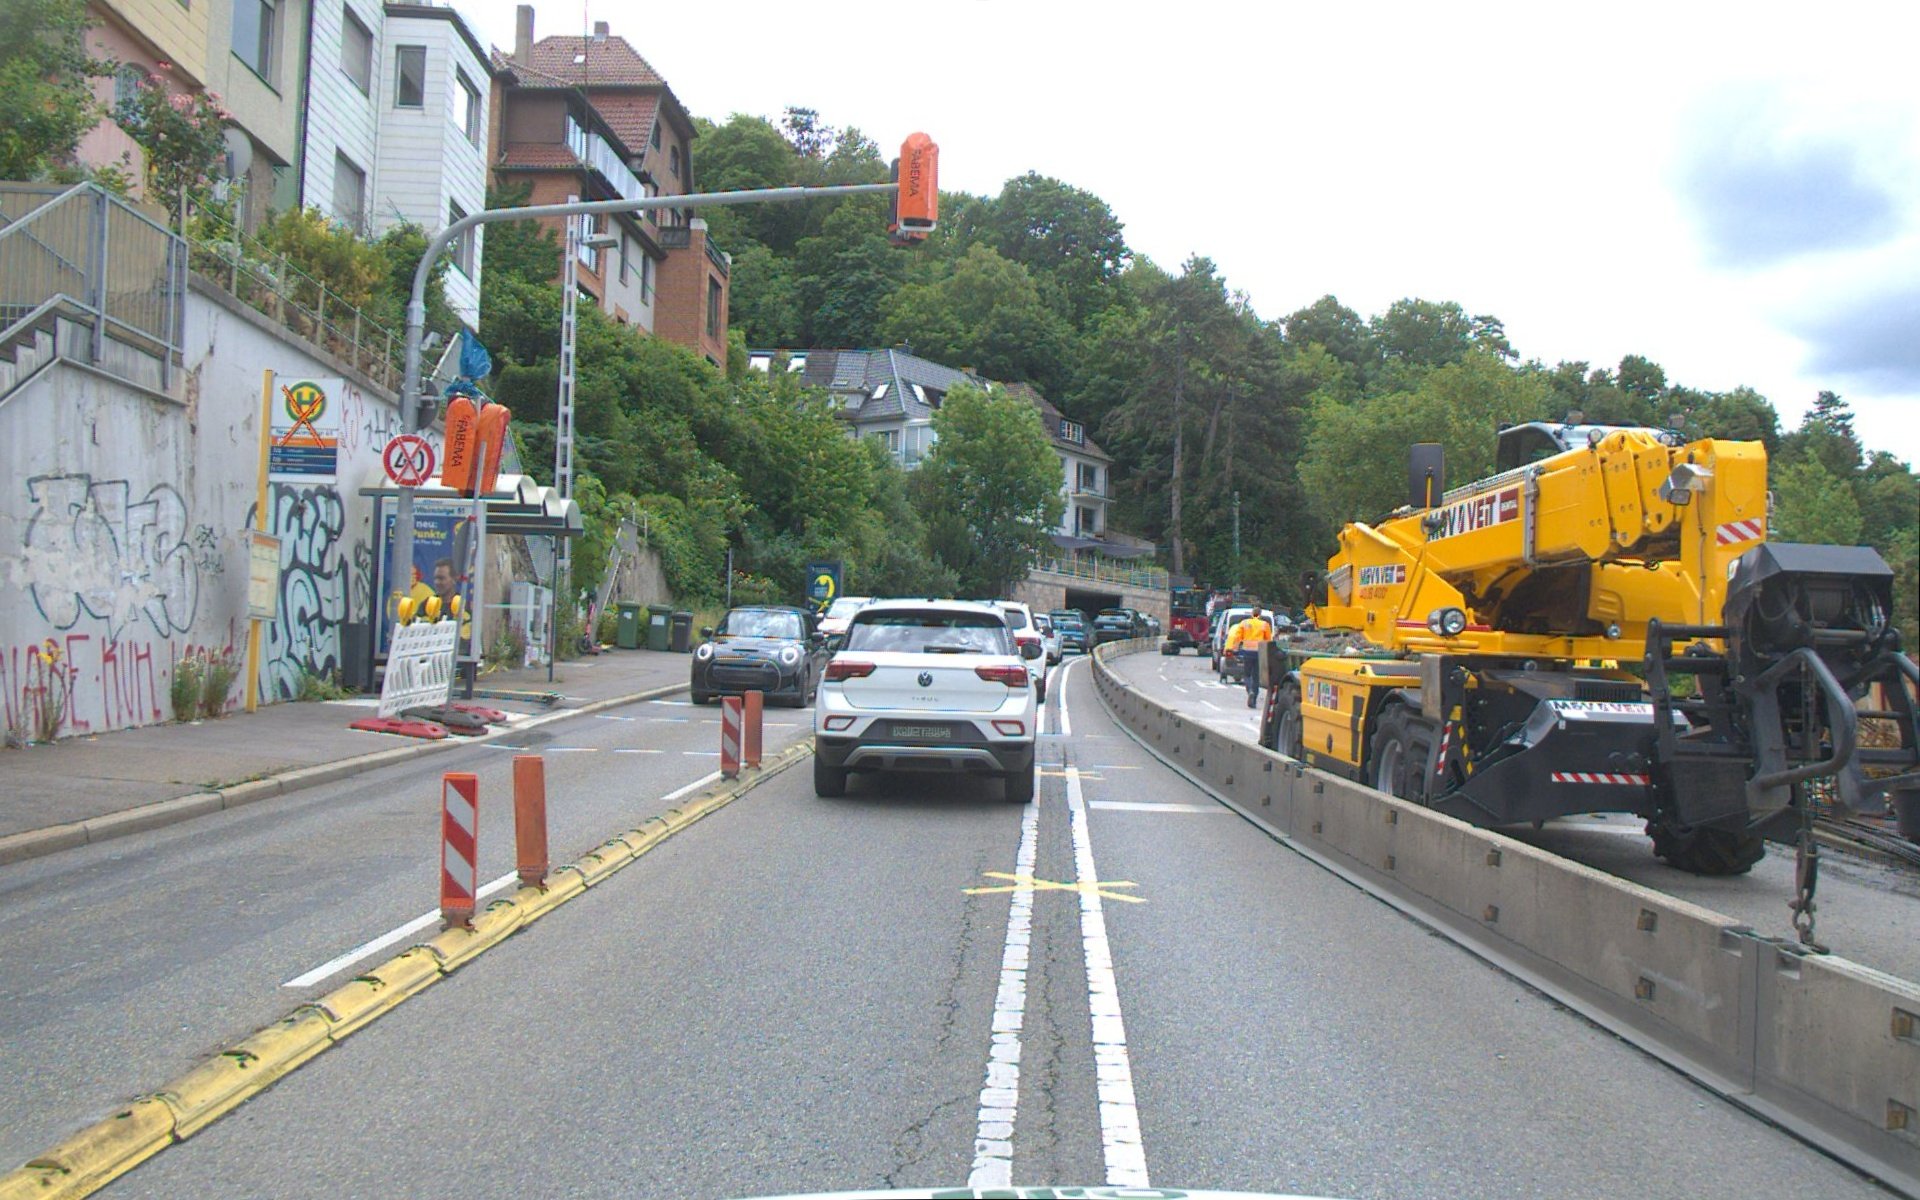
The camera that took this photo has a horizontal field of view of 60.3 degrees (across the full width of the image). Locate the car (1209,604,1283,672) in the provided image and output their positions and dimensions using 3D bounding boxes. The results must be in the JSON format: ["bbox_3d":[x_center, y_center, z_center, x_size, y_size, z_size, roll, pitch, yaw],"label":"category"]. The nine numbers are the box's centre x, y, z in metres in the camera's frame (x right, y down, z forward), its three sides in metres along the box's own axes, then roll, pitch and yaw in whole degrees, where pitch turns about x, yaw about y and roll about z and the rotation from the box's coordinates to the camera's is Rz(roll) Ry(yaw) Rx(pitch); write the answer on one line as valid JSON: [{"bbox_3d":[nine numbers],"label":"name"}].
[{"bbox_3d":[8.230,1.063,47.893,1.794,1.811,4.271,2,0,6],"label":"car"}]

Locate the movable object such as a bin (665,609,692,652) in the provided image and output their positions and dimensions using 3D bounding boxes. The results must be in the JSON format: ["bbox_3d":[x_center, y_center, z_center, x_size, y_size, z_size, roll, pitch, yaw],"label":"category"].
[{"bbox_3d":[-6.541,0.707,38.500,0.458,0.950,0.624,3,0,2],"label":"movable object such as a bin"}]

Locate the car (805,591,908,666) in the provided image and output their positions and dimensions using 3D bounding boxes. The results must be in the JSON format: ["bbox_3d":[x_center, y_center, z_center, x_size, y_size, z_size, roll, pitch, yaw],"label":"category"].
[{"bbox_3d":[-2.384,0.655,39.156,1.803,1.627,4.266,2,0,5],"label":"car"}]

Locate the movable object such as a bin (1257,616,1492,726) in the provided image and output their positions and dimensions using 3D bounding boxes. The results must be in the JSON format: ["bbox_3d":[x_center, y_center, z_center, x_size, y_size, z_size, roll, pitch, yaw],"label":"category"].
[{"bbox_3d":[6.988,1.123,28.895,2.325,1.589,7.099,2,0,0],"label":"movable object such as a bin"}]

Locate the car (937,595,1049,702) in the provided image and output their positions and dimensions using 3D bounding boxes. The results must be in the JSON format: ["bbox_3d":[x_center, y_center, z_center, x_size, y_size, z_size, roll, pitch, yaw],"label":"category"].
[{"bbox_3d":[0.629,0.793,28.337,1.772,1.692,4.001,0,0,3],"label":"car"}]

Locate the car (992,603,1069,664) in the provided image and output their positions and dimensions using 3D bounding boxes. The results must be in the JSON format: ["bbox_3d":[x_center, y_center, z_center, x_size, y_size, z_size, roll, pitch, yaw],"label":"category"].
[{"bbox_3d":[2.115,0.957,48.449,1.771,1.692,4.003,0,0,10],"label":"car"}]

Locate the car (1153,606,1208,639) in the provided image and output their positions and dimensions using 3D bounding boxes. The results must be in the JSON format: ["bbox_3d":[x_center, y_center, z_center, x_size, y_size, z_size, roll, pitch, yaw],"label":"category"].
[{"bbox_3d":[11.857,1.203,88.765,1.774,1.692,3.996,0,-1,26],"label":"car"}]

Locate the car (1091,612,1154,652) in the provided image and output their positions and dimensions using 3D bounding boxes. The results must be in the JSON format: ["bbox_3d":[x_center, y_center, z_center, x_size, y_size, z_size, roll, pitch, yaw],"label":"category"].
[{"bbox_3d":[7.096,1.362,72.030,1.772,1.692,4.000,0,-1,20],"label":"car"}]

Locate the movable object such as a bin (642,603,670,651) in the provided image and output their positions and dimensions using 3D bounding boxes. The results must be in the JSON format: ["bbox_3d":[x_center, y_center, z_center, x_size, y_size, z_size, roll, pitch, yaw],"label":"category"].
[{"bbox_3d":[-7.081,0.621,38.524,0.458,1.072,0.624,3,0,2],"label":"movable object such as a bin"}]

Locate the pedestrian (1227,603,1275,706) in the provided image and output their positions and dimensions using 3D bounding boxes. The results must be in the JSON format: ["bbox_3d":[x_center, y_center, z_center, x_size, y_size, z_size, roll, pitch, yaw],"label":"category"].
[{"bbox_3d":[5.047,0.934,28.740,0.632,1.731,0.850,3,0,2],"label":"pedestrian"}]

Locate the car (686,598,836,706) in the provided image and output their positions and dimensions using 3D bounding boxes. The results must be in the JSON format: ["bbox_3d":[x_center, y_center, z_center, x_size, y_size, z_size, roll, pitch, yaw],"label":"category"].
[{"bbox_3d":[-2.938,0.751,25.060,1.637,1.455,3.588,2,-1,3],"label":"car"}]

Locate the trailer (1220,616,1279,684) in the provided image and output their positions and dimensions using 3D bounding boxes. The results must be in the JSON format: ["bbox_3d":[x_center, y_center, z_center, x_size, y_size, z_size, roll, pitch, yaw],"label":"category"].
[{"bbox_3d":[6.970,1.173,40.052,1.261,1.501,3.636,2,0,8],"label":"trailer"}]

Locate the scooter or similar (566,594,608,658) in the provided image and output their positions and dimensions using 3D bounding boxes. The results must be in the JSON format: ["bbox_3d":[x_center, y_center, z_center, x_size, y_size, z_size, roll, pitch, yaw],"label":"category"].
[{"bbox_3d":[-7.493,0.515,33.285,0.450,1.226,1.435,3,0,0],"label":"scooter or similar"}]

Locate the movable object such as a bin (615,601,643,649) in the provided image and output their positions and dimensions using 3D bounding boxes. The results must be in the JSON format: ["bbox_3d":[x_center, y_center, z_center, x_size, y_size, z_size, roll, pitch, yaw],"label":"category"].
[{"bbox_3d":[-7.711,0.585,38.552,0.458,1.072,0.624,3,0,2],"label":"movable object such as a bin"}]

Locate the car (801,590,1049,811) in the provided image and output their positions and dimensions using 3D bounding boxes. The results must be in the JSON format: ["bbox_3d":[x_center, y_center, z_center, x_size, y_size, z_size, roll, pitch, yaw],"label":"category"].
[{"bbox_3d":[-0.227,0.752,14.144,1.772,1.558,4.000,2,0,1],"label":"car"}]

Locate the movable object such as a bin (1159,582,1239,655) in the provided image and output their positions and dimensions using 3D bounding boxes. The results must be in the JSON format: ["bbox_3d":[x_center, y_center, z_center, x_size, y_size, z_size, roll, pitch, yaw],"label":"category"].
[{"bbox_3d":[9.409,0.719,64.819,2.166,2.709,4.946,2,0,19],"label":"movable object such as a bin"}]

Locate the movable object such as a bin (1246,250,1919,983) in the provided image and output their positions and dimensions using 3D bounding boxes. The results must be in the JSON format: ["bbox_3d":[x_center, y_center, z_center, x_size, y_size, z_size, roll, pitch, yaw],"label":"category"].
[{"bbox_3d":[4.141,0.111,11.103,2.755,3.124,7.820,2,0,-2],"label":"movable object such as a bin"}]

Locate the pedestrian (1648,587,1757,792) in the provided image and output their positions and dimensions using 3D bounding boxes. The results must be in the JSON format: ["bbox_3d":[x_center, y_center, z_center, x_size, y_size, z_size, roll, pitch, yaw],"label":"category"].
[{"bbox_3d":[6.750,0.801,15.050,0.676,1.826,0.538,2,0,-10],"label":"pedestrian"}]

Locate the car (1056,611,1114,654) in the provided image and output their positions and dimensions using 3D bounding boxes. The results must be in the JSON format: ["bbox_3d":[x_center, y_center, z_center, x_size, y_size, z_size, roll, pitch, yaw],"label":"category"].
[{"bbox_3d":[4.661,1.185,61.211,1.756,1.537,4.003,0,0,10],"label":"car"}]
